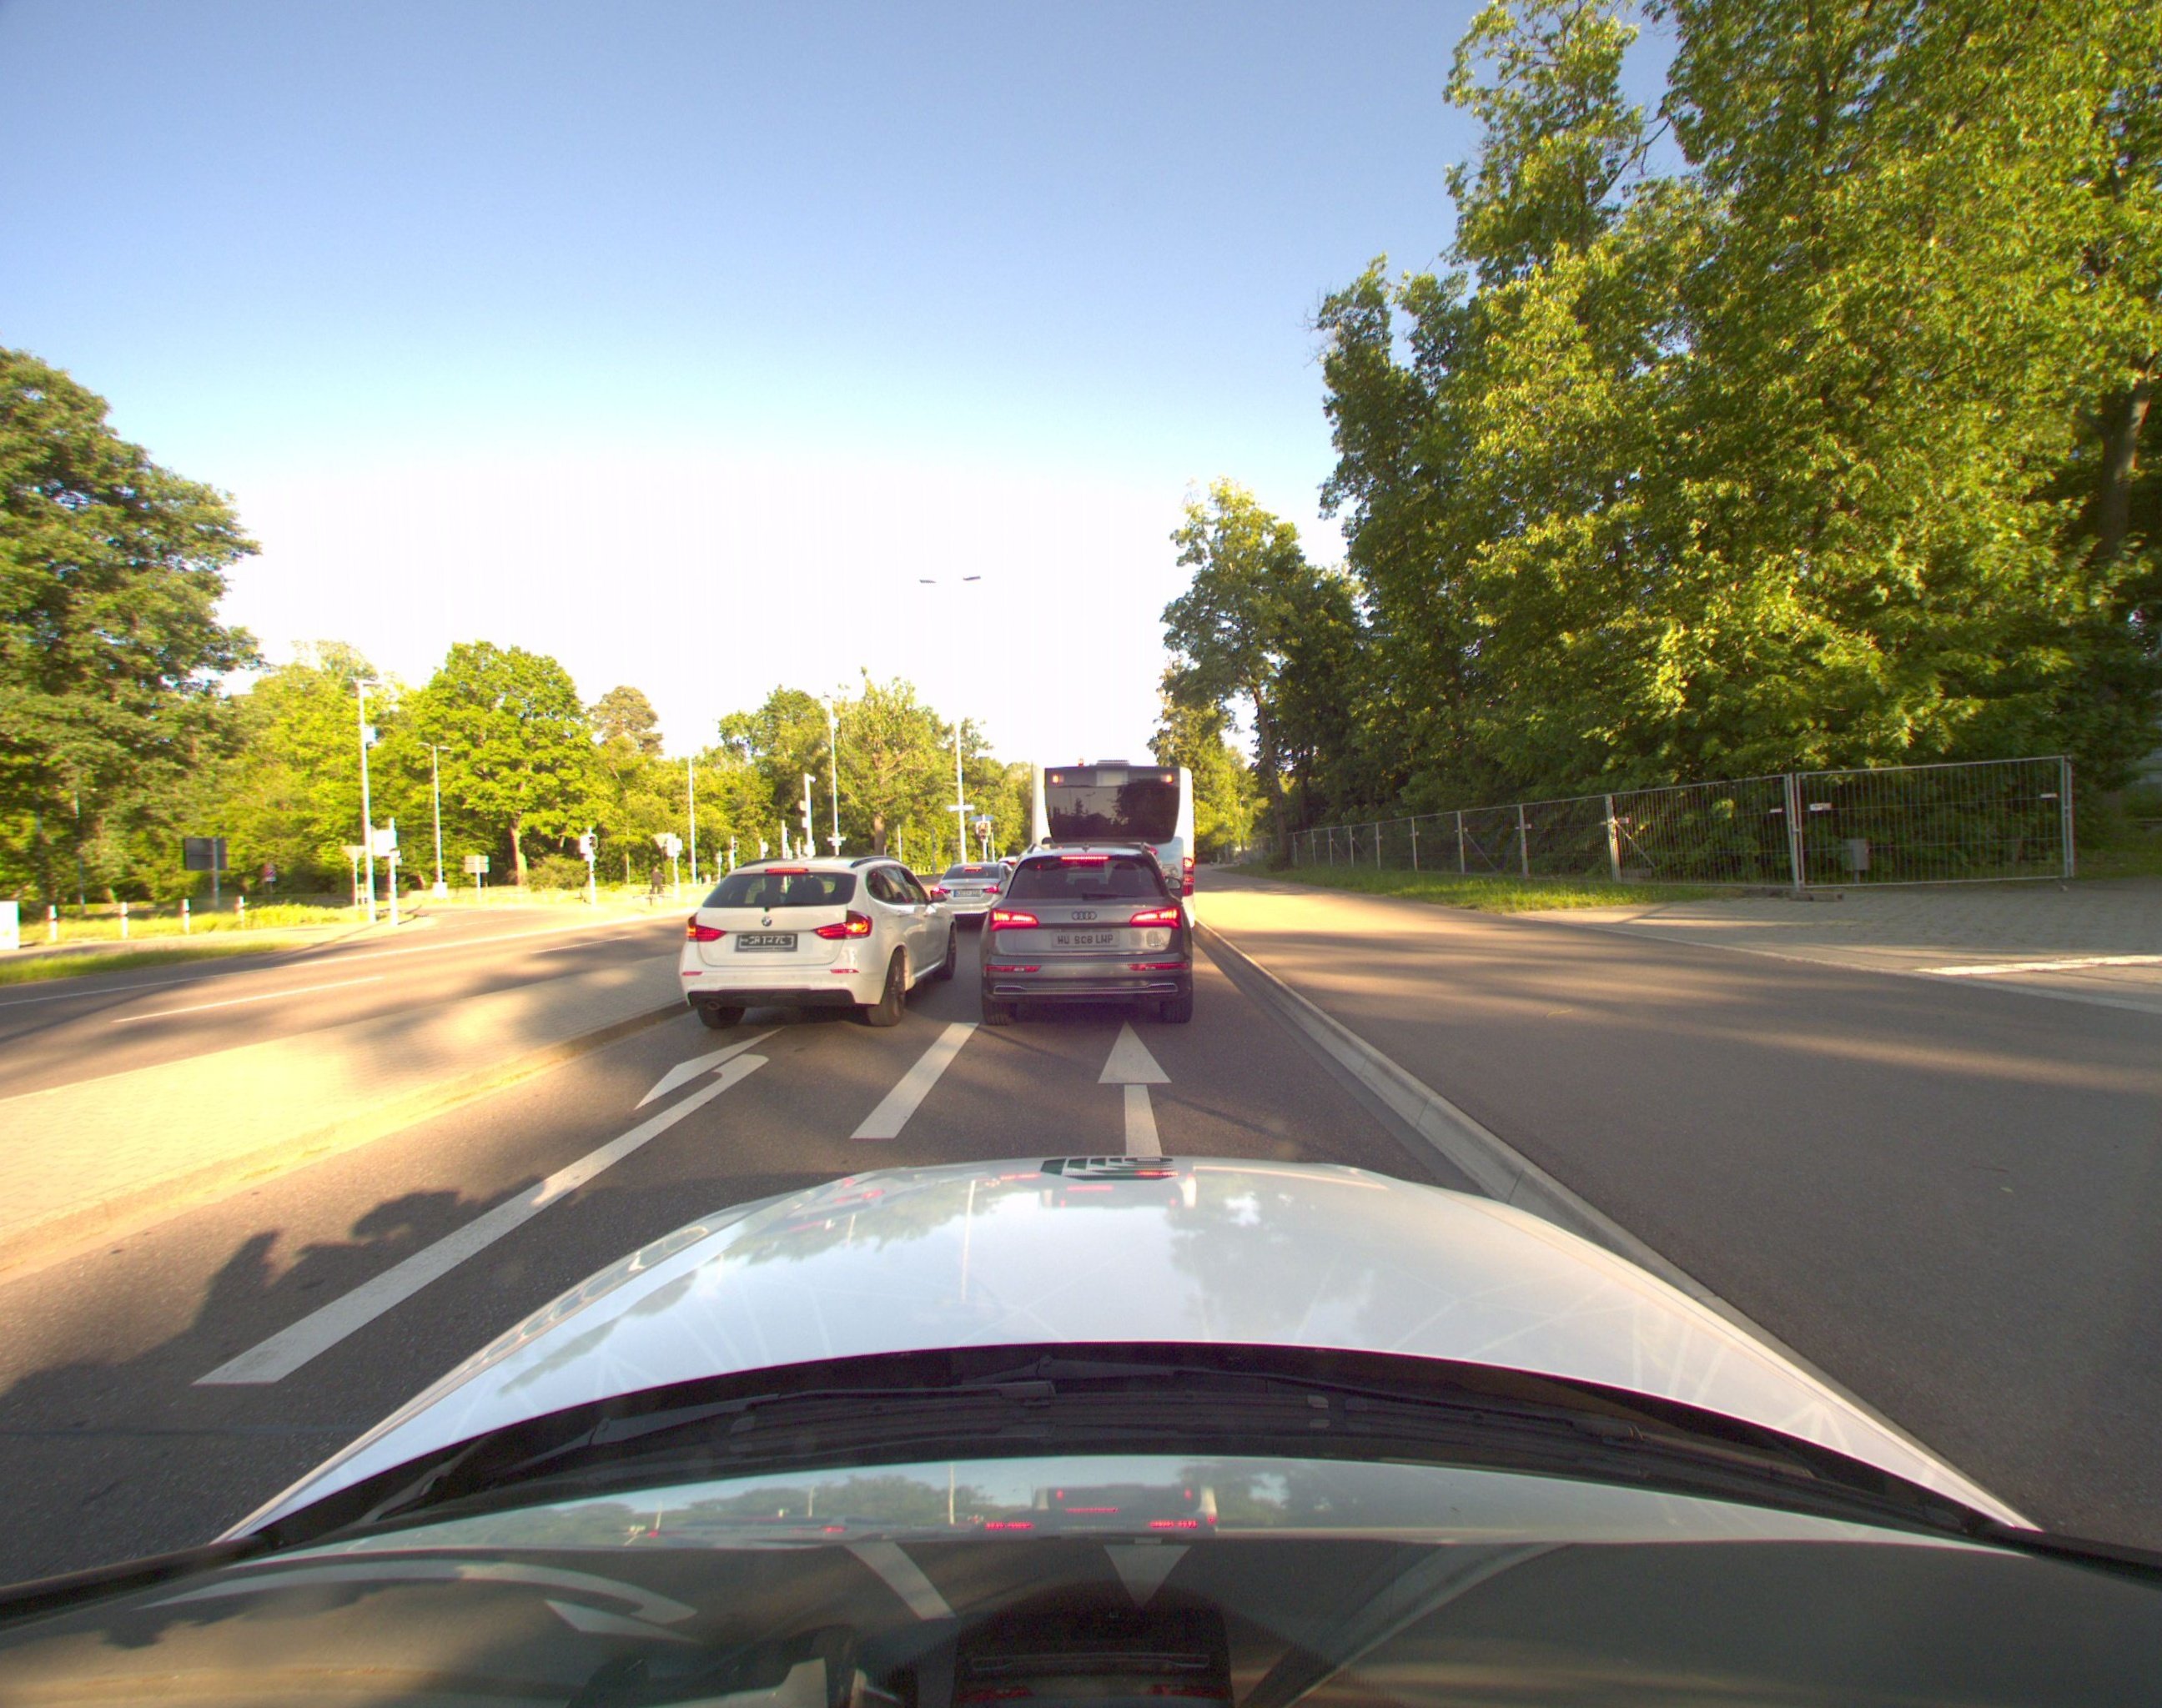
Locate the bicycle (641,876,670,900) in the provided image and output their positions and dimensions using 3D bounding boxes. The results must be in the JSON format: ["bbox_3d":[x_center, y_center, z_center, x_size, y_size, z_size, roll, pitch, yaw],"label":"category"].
[{"bbox_3d":[-22.694,1.796,43.482,0.466,1.178,2.005,0,-1,2],"label":"bicycle"}]

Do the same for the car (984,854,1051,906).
[{"bbox_3d":[-2.066,0.809,27.471,1.801,1.572,4.002,0,1,2],"label":"car"}]

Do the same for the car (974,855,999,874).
[{"bbox_3d":[-8.701,0.950,75.216,1.990,1.662,3.995,-3,0,-4],"label":"car"}]

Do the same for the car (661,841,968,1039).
[{"bbox_3d":[-2.446,0.683,8.753,1.712,1.580,4.436,0,0,2],"label":"car"}]

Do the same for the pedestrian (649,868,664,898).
[{"bbox_3d":[-22.702,1.540,43.539,0.480,1.562,0.649,0,-1,2],"label":"pedestrian"}]

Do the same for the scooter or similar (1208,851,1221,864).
[{"bbox_3d":[12.756,0.333,77.709,1.175,1.174,0.661,0,0,13],"label":"scooter or similar"}]

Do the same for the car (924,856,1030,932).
[{"bbox_3d":[-2.221,0.811,18.491,1.779,1.444,4.278,0,1,1],"label":"car"}]

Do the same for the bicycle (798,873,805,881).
[{"bbox_3d":[-22.289,1.812,64.938,0.266,0.581,0.838,0,-1,-4],"label":"bicycle"}]

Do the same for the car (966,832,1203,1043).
[{"bbox_3d":[0.090,0.642,8.446,1.861,1.663,4.002,0,0,2],"label":"car"}]

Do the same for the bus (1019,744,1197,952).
[{"bbox_3d":[0.573,-0.113,15.259,2.667,3.142,5.887,0,0,3],"label":"bus"}]

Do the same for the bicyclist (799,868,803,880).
[{"bbox_3d":[-22.296,1.561,64.902,0.272,0.963,0.240,0,-1,-3],"label":"bicyclist"}]
